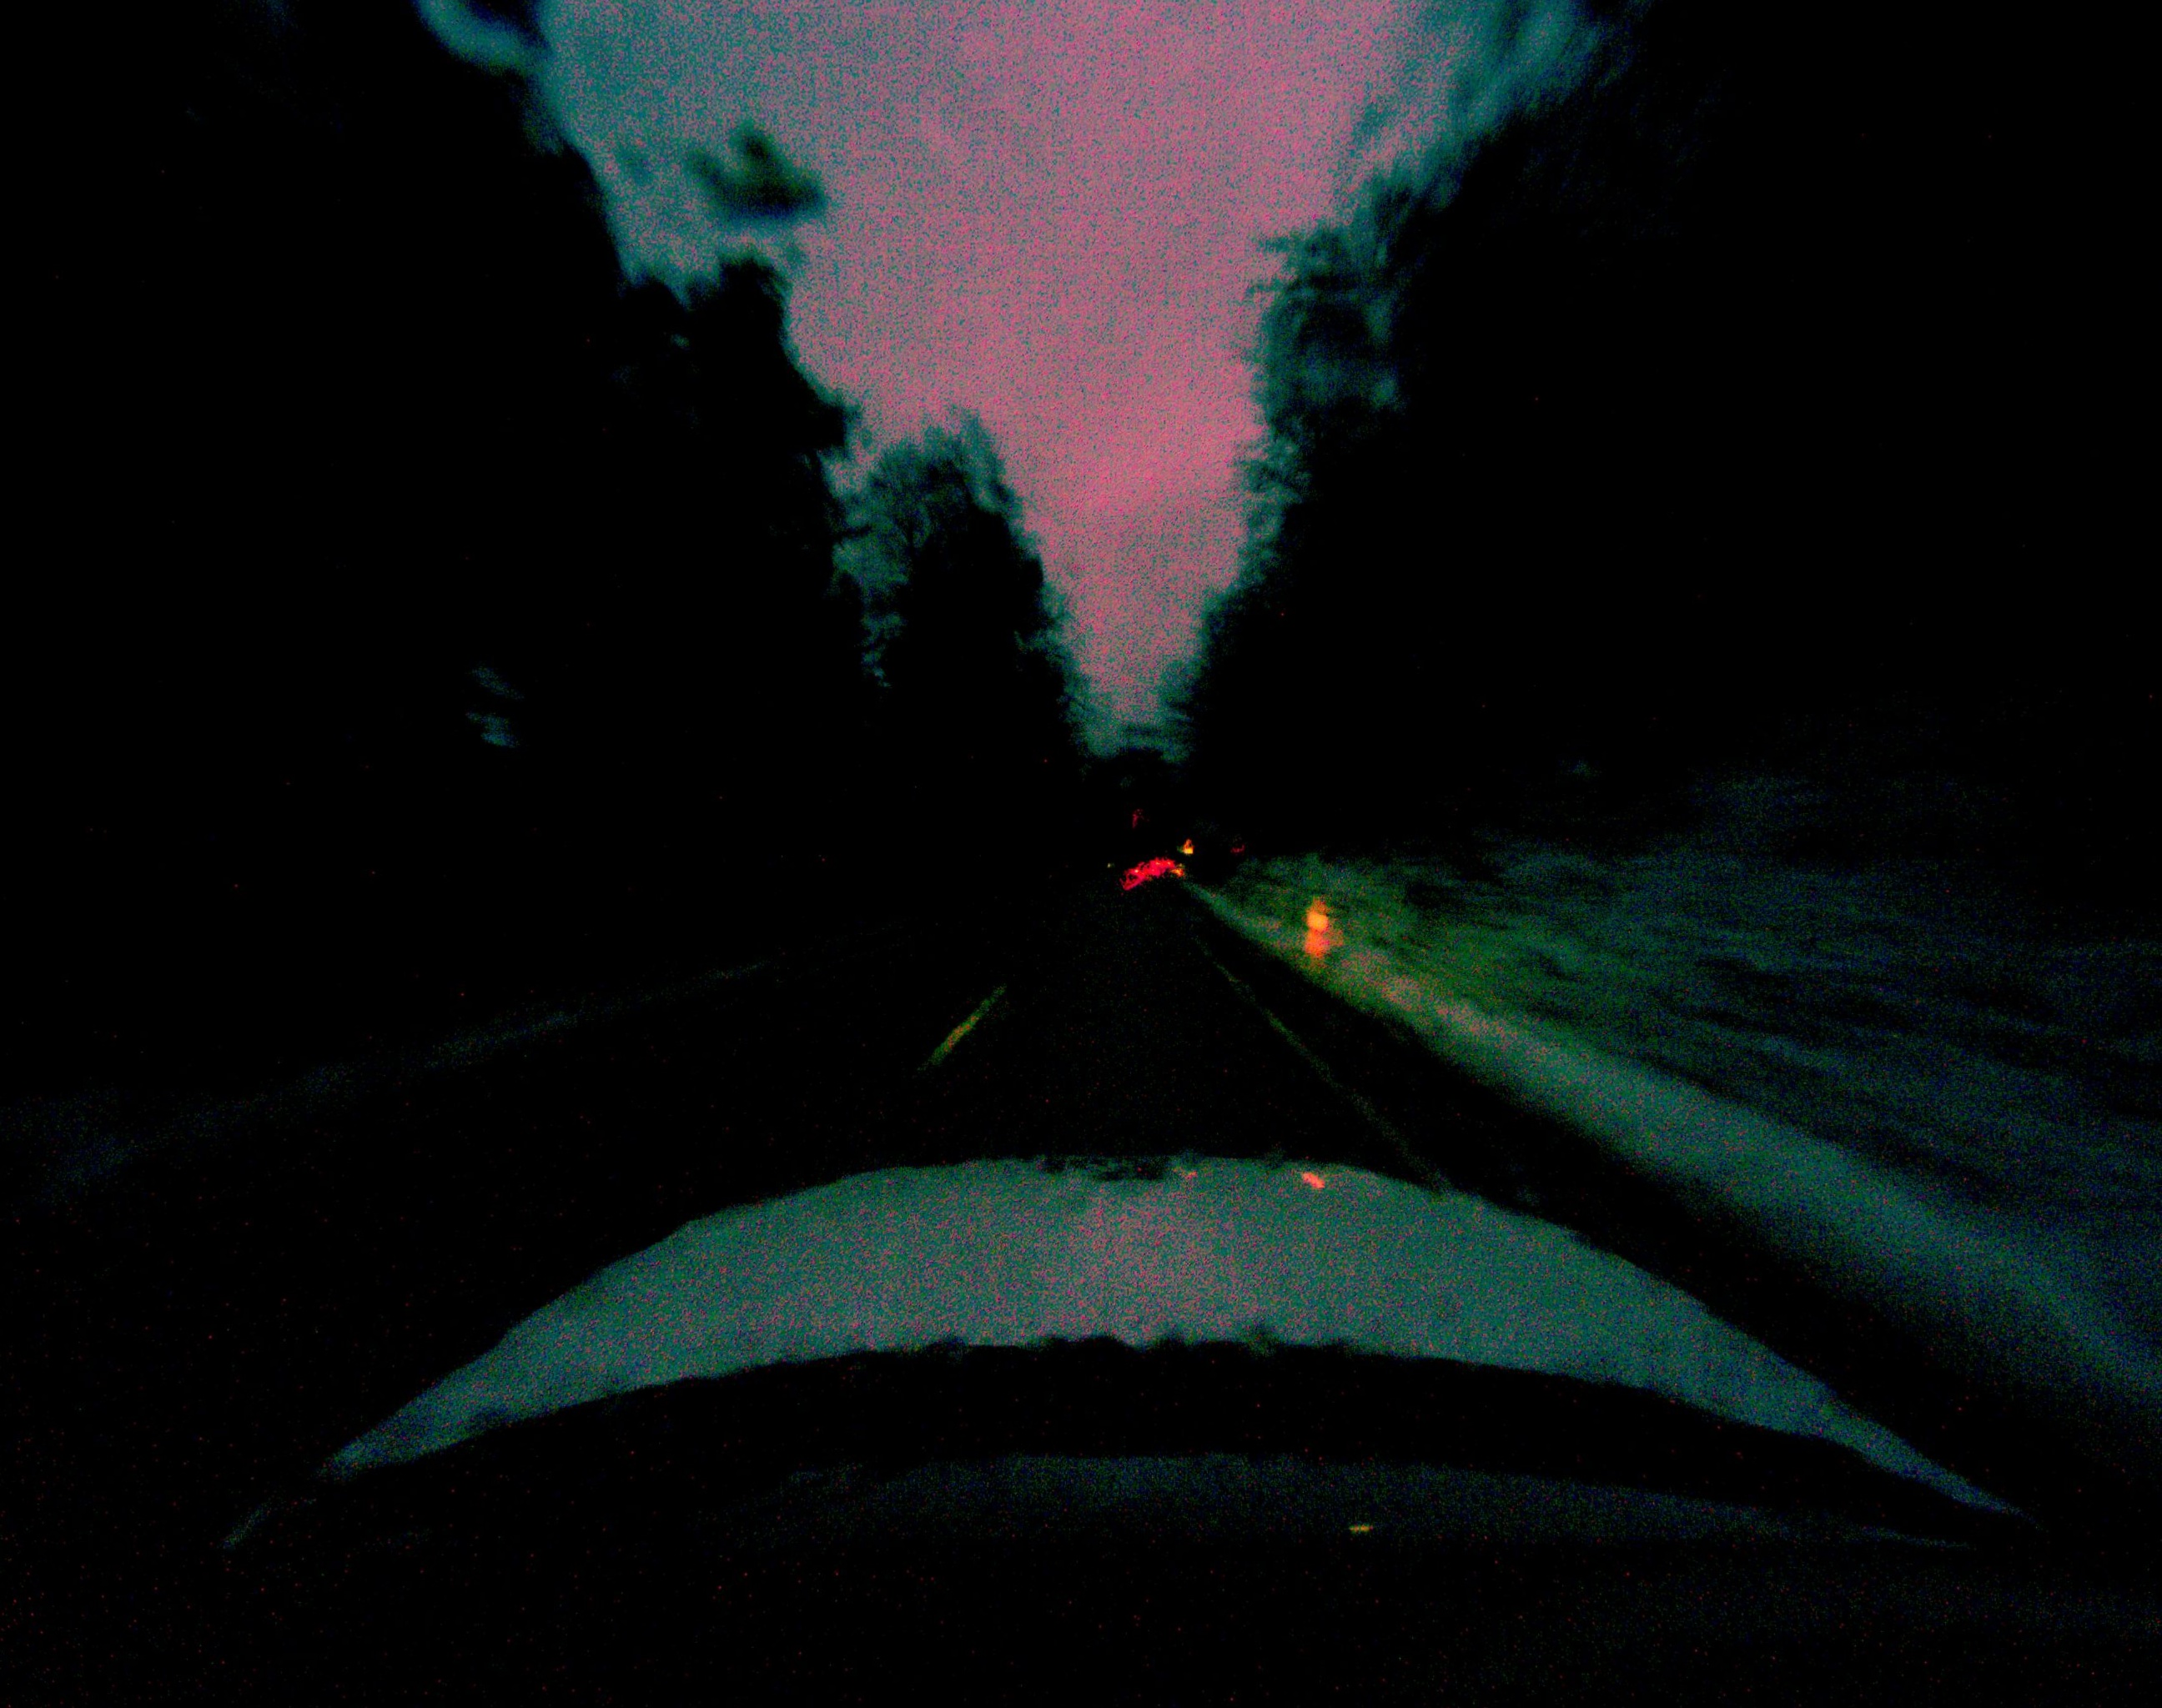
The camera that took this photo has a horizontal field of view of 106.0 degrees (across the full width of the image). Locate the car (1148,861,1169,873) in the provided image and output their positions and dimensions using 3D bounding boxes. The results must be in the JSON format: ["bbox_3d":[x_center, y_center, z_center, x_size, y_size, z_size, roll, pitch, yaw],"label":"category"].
[{"bbox_3d":[9.607,1.607,100.797,1.989,1.310,3.995,-4,0,-3],"label":"car"}]

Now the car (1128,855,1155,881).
[{"bbox_3d":[4.707,1.049,63.372,1.985,1.872,4.005,-4,0,4],"label":"car"}]
